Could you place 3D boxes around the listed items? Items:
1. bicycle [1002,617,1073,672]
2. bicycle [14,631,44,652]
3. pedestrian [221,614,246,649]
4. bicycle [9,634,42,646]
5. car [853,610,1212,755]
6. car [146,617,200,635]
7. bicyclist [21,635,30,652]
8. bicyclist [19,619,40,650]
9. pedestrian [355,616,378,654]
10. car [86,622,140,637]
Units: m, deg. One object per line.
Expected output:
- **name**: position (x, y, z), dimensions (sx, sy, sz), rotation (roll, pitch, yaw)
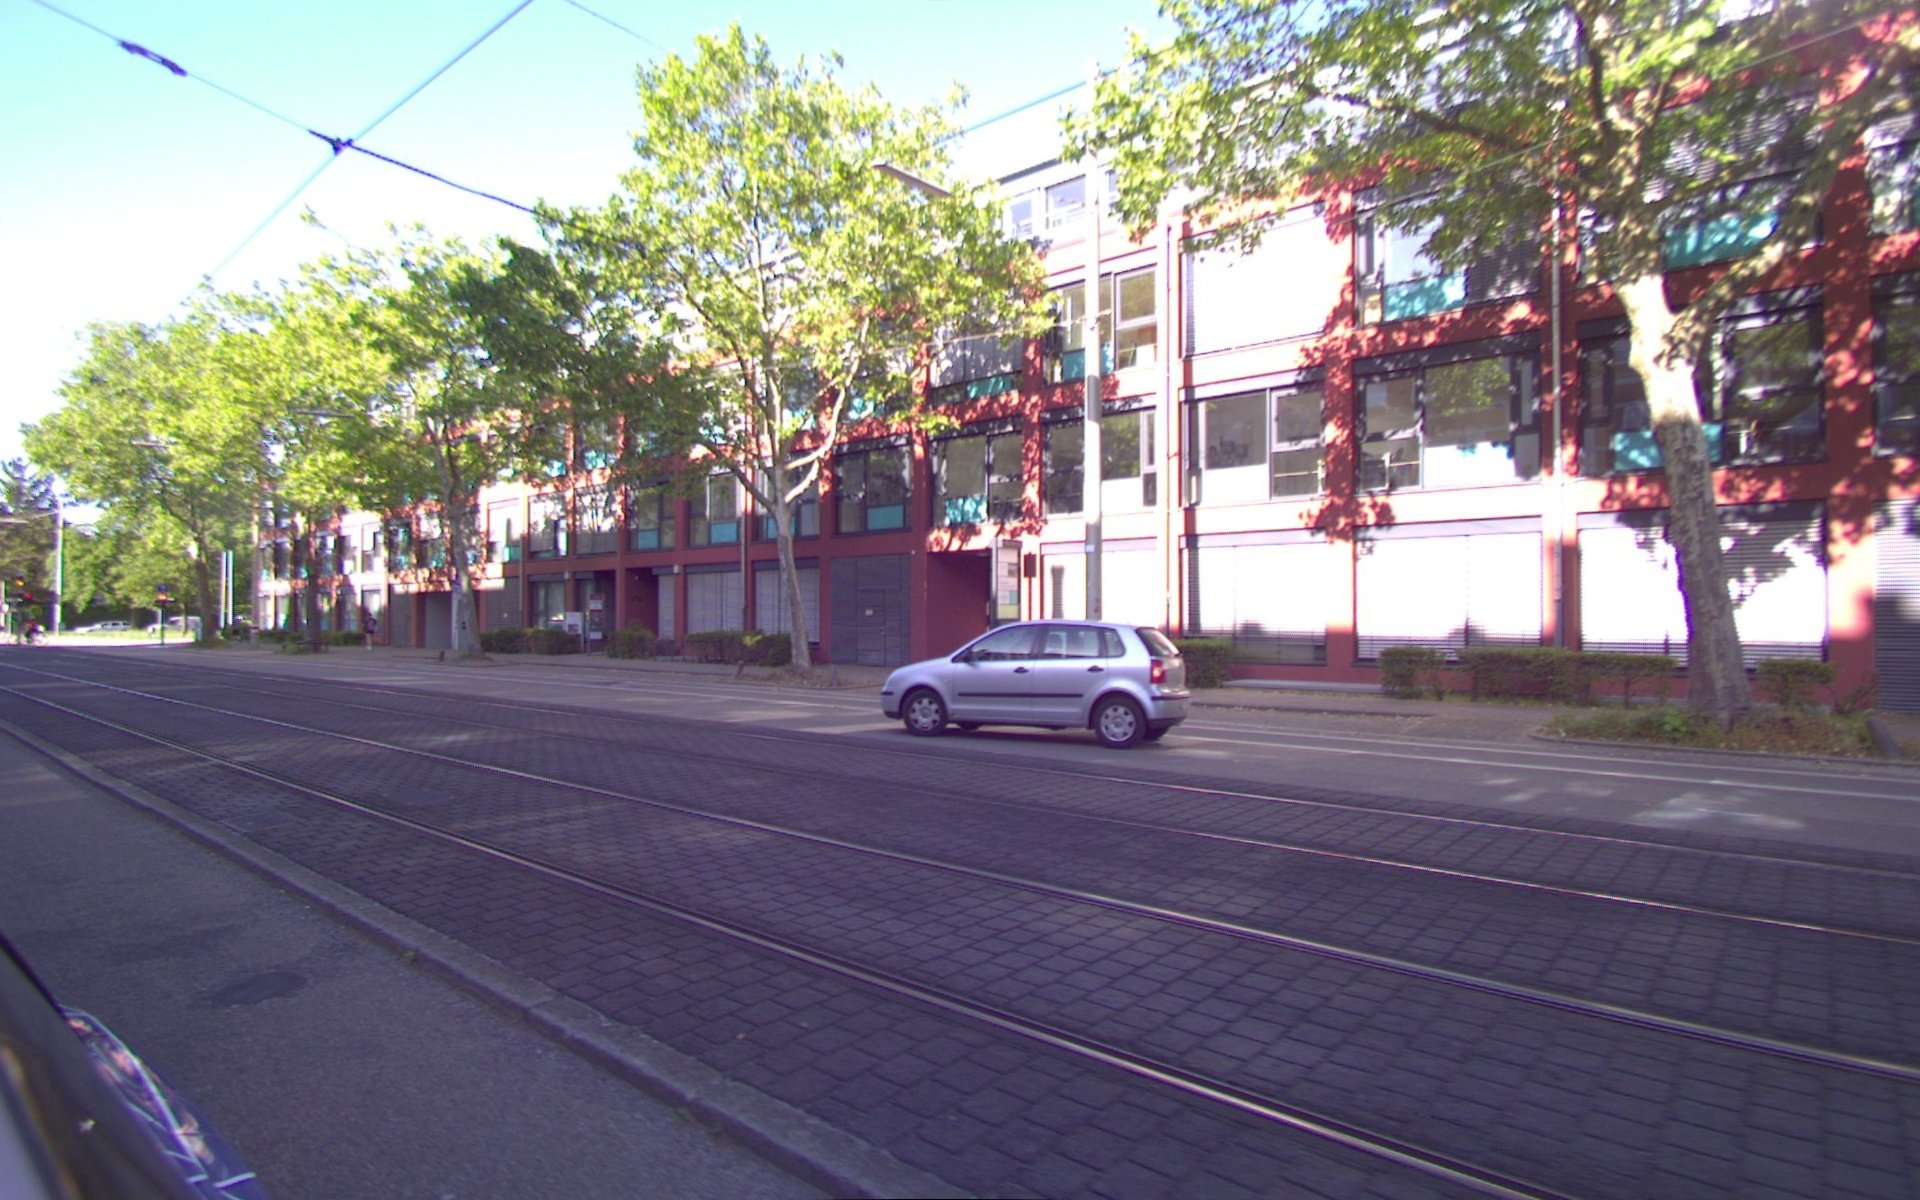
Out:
- **bicycle**: position (2.013, 1.127, 26.135), dimensions (0.619, 1.282, 2.039), rotation (-2, 0, 44)
- **bicycle**: position (-52.784, 2.342, 57.418), dimensions (0.622, 1.138, 2.042), rotation (-1, -1, -24)
- **pedestrian**: position (-43.152, 1.896, 60.110), dimensions (0.778, 2.029, 0.903), rotation (-2, 0, 32)
- **bicycle**: position (-87.886, 3.733, 95.155), dimensions (2.252, 1.126, 0.931), rotation (1, -2, -42)
- **car**: position (0.877, 0.922, 12.433), dimensions (4.049, 1.530, 1.743), rotation (0, -3, 26)
- **car**: position (-81.706, 2.664, 105.085), dimensions (1.816, 1.881, 4.254), rotation (-1, -1, 43)
- **bicyclist**: position (-87.840, 4.078, 95.117), dimensions (0.551, 1.635, 0.899), rotation (1, -2, -41)
- **bicyclist**: position (-52.792, 1.968, 57.409), dimensions (0.596, 1.705, 0.935), rotation (-2, 0, -24)
- **pedestrian**: position (-27.629, 1.626, 47.108), dimensions (0.900, 1.731, 0.619), rotation (-1, 0, 40)
- **car**: position (-83.281, 2.890, 99.516), dimensions (3.940, 1.444, 1.818), rotation (1, -2, -44)
